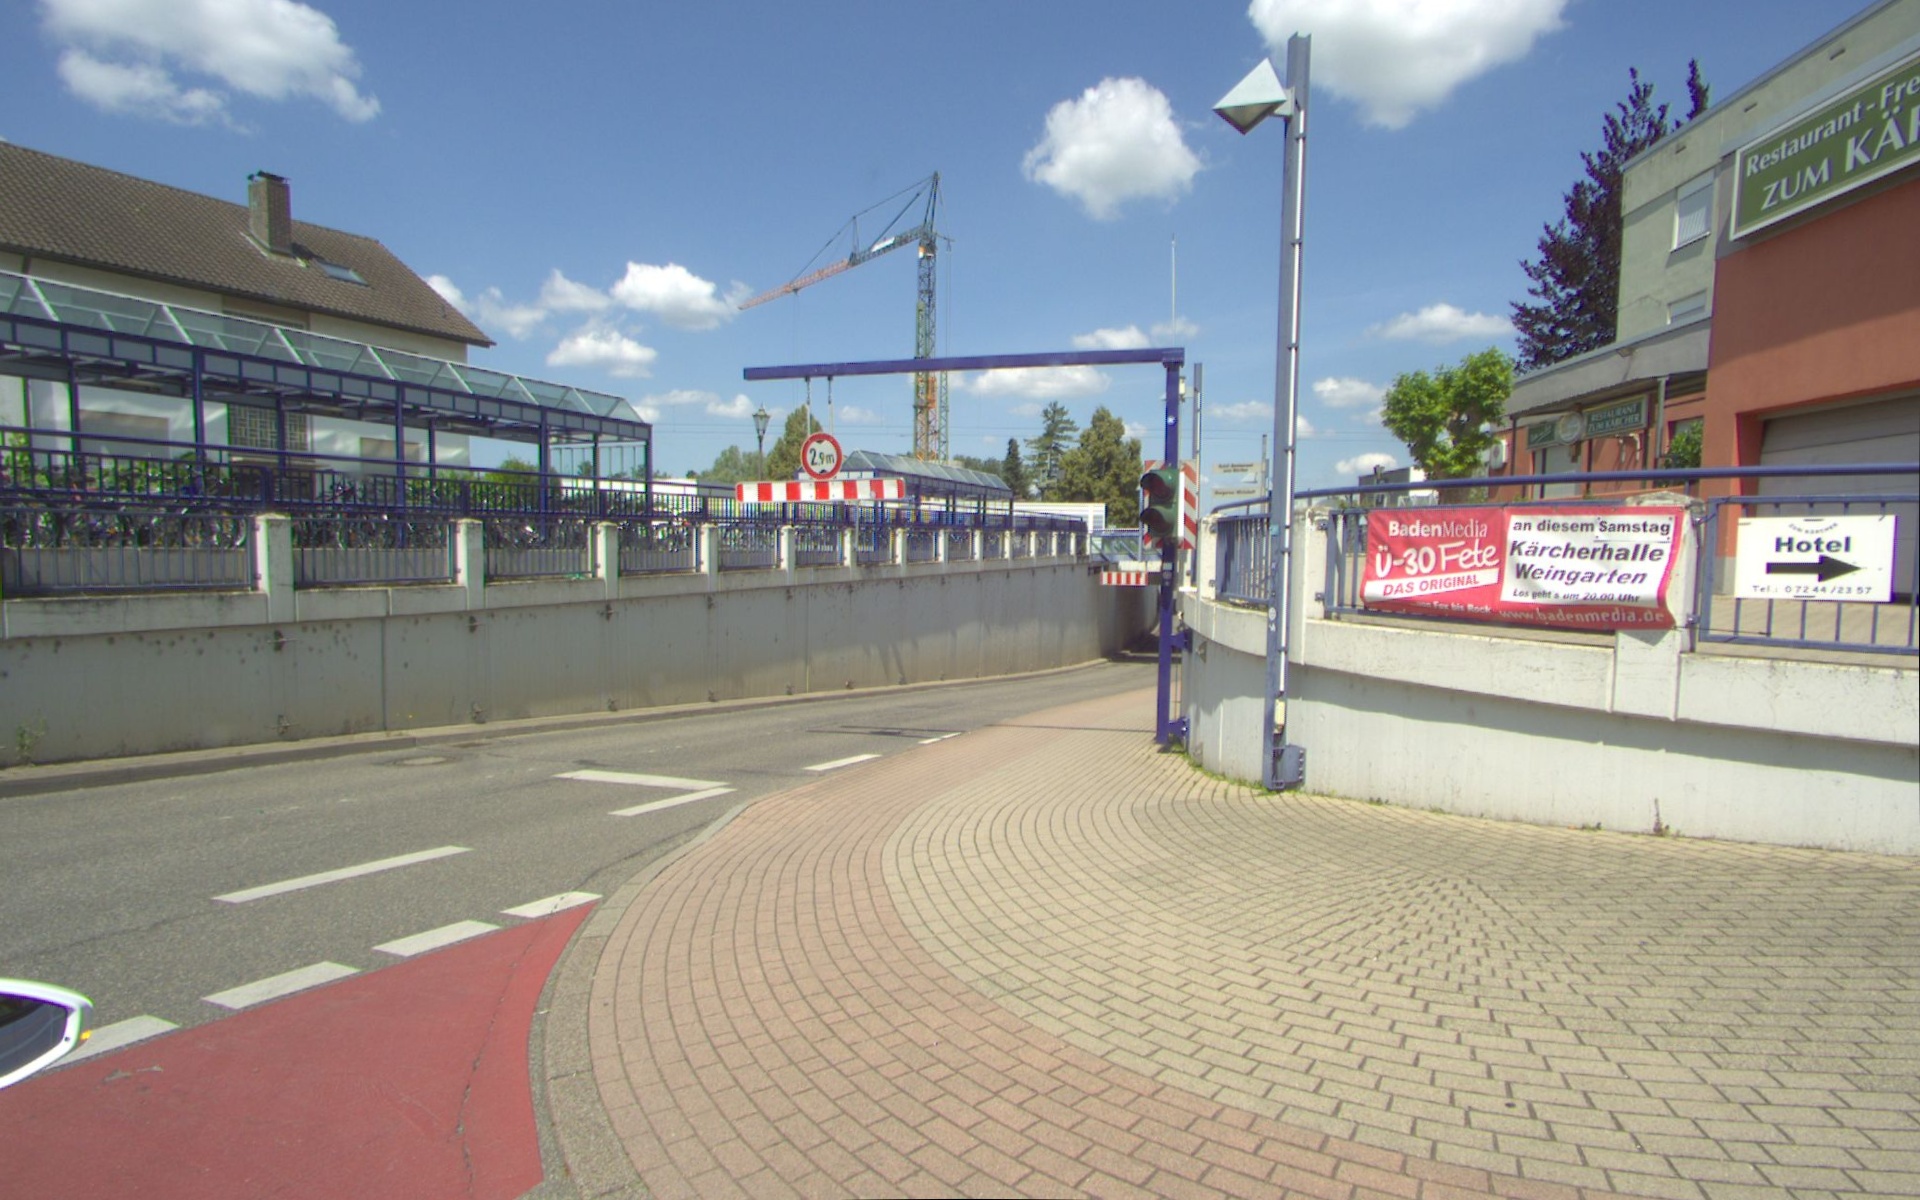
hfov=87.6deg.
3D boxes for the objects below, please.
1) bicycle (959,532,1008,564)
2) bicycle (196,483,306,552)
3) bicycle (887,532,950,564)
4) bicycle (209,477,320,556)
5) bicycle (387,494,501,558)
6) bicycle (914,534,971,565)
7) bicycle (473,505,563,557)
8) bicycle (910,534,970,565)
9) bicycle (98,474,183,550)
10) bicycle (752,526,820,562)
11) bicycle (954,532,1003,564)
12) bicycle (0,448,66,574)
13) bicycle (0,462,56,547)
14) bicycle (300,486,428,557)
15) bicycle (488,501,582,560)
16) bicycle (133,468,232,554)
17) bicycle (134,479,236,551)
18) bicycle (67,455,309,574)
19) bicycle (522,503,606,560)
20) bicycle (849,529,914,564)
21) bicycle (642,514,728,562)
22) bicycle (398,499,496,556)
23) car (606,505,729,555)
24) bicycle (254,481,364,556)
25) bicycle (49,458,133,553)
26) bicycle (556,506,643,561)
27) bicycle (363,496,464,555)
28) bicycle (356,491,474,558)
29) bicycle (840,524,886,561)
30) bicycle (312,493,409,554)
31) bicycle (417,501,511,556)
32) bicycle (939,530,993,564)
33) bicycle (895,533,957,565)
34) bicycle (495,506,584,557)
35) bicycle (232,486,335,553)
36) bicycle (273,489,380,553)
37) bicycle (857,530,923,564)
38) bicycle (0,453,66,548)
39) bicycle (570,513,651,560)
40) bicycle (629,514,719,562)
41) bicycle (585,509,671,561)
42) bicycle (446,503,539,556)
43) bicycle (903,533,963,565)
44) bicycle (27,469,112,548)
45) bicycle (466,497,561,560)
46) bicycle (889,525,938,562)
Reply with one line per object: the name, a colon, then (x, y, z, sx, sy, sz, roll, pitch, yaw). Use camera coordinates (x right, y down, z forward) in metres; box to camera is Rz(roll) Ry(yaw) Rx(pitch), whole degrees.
bicycle: (0.890, -1.999, 38.586, 1.791, 1.174, 0.510, 2, 3, 22)
bicycle: (-10.994, -1.268, 15.515, 1.933, 1.008, 0.473, 2, 3, 25)
bicycle: (-1.356, -1.691, 32.676, 1.991, 1.008, 0.510, 2, 3, 21)
bicycle: (-9.593, -1.137, 13.783, 2.248, 1.008, 0.434, 3, 3, 33)
bicycle: (-8.588, -1.221, 16.646, 2.152, 1.008, 0.532, 2, 3, 27)
bicycle: (-0.613, -1.752, 34.757, 1.889, 1.008, 0.510, 2, 3, 21)
bicycle: (-8.923, -1.396, 20.193, 1.933, 1.008, 0.518, 2, 3, 25)
bicycle: (-0.677, -1.730, 34.129, 1.991, 1.008, 0.510, 2, 3, 21)
bicycle: (-11.609, -1.232, 14.160, 1.937, 1.008, 0.371, 3, 3, 34)
bicycle: (-5.092, -1.650, 29.263, 1.991, 1.008, 0.510, 2, 3, 21)
bicycle: (0.691, -1.984, 38.078, 1.791, 1.174, 0.510, 2, 3, 22)
bicycle: (-9.052, -0.796, 8.579, 0.327, 1.141, 2.115, 3, 3, 23)
bicycle: (-12.069, -1.188, 12.730, 1.937, 1.008, 0.371, 3, 3, 34)
bicycle: (-8.914, -1.165, 14.954, 2.244, 1.008, 0.532, 2, 3, 27)
bicycle: (-7.715, -1.257, 18.151, 2.009, 1.008, 0.514, 3, 3, 32)
bicycle: (-9.857, -1.101, 12.671, 2.074, 1.008, 0.434, 3, 3, 36)
bicycle: (-11.470, -1.253, 14.805, 1.934, 1.008, 0.425, 3, 3, 28)
bicycle: (-8.141, -0.854, 10.699, 0.386, 1.141, 2.115, 3, 3, 23)
bicycle: (-7.456, -1.276, 18.804, 2.012, 1.008, 0.513, 3, 3, 37)
bicycle: (-2.400, -1.638, 30.607, 1.991, 1.008, 0.436, 2, 3, 21)
bicycle: (-6.047, -1.363, 21.996, 2.006, 1.008, 0.543, 3, 3, 28)
bicycle: (-9.489, -1.346, 18.511, 1.933, 1.008, 0.518, 2, 3, 25)
car: (-10.663, -2.547, 36.564, 3.930, 1.701, 1.995, 2, 3, 20)
bicycle: (-9.322, -1.150, 14.300, 2.248, 1.008, 0.434, 3, 3, 33)
bicycle: (-10.146, -1.070, 11.670, 2.077, 1.008, 0.433, 3, 3, 41)
bicycle: (-7.004, -1.288, 19.407, 2.010, 1.008, 0.514, 3, 3, 34)
bicycle: (-9.726, -1.325, 17.810, 1.933, 1.008, 0.518, 2, 3, 25)
bicycle: (-8.677, -1.196, 15.923, 2.152, 1.008, 0.532, 2, 3, 27)
bicycle: (-3.189, -1.876, 32.808, 1.578, 1.174, 0.384, 3, 3, 33)
bicycle: (-10.341, -1.319, 17.271, 1.771, 1.008, 0.518, 2, 3, 25)
bicycle: (-9.486, -1.369, 19.131, 1.933, 1.008, 0.518, 2, 3, 25)
bicycle: (0.201, -1.930, 36.344, 1.890, 1.174, 0.510, 2, 3, 22)
bicycle: (-1.130, -1.707, 33.227, 1.991, 1.008, 0.510, 2, 3, 21)
bicycle: (-8.694, -1.410, 20.695, 1.933, 1.008, 0.518, 2, 3, 25)
bicycle: (-10.783, -1.280, 15.943, 1.933, 1.008, 0.413, 2, 3, 25)
bicycle: (-10.510, -1.298, 16.606, 1.933, 1.008, 0.518, 2, 3, 25)
bicycle: (-2.190, -1.655, 31.188, 1.991, 1.008, 0.510, 2, 3, 21)
bicycle: (-10.823, -1.104, 11.252, 2.041, 1.008, 0.332, 2, 3, 24)
bicycle: (-7.803, -1.416, 22.321, 2.008, 1.008, 0.542, 3, 3, 31)
bicycle: (-6.300, -1.360, 22.010, 2.125, 1.008, 0.436, 2, 3, 24)
bicycle: (-6.699, -1.309, 20.168, 2.010, 1.008, 0.542, 3, 3, 34)
bicycle: (-9.194, -1.383, 19.671, 1.933, 1.008, 0.518, 2, 3, 25)
bicycle: (-0.916, -1.720, 33.720, 1.991, 1.008, 0.510, 2, 3, 21)
bicycle: (-12.095, -1.221, 13.587, 1.937, 1.008, 0.371, 3, 3, 34)
bicycle: (-7.738, -1.227, 17.321, 2.160, 1.008, 0.576, 3, 3, 39)
bicycle: (-1.494, -1.800, 31.825, 1.578, 1.174, 0.427, 3, 3, 33)
